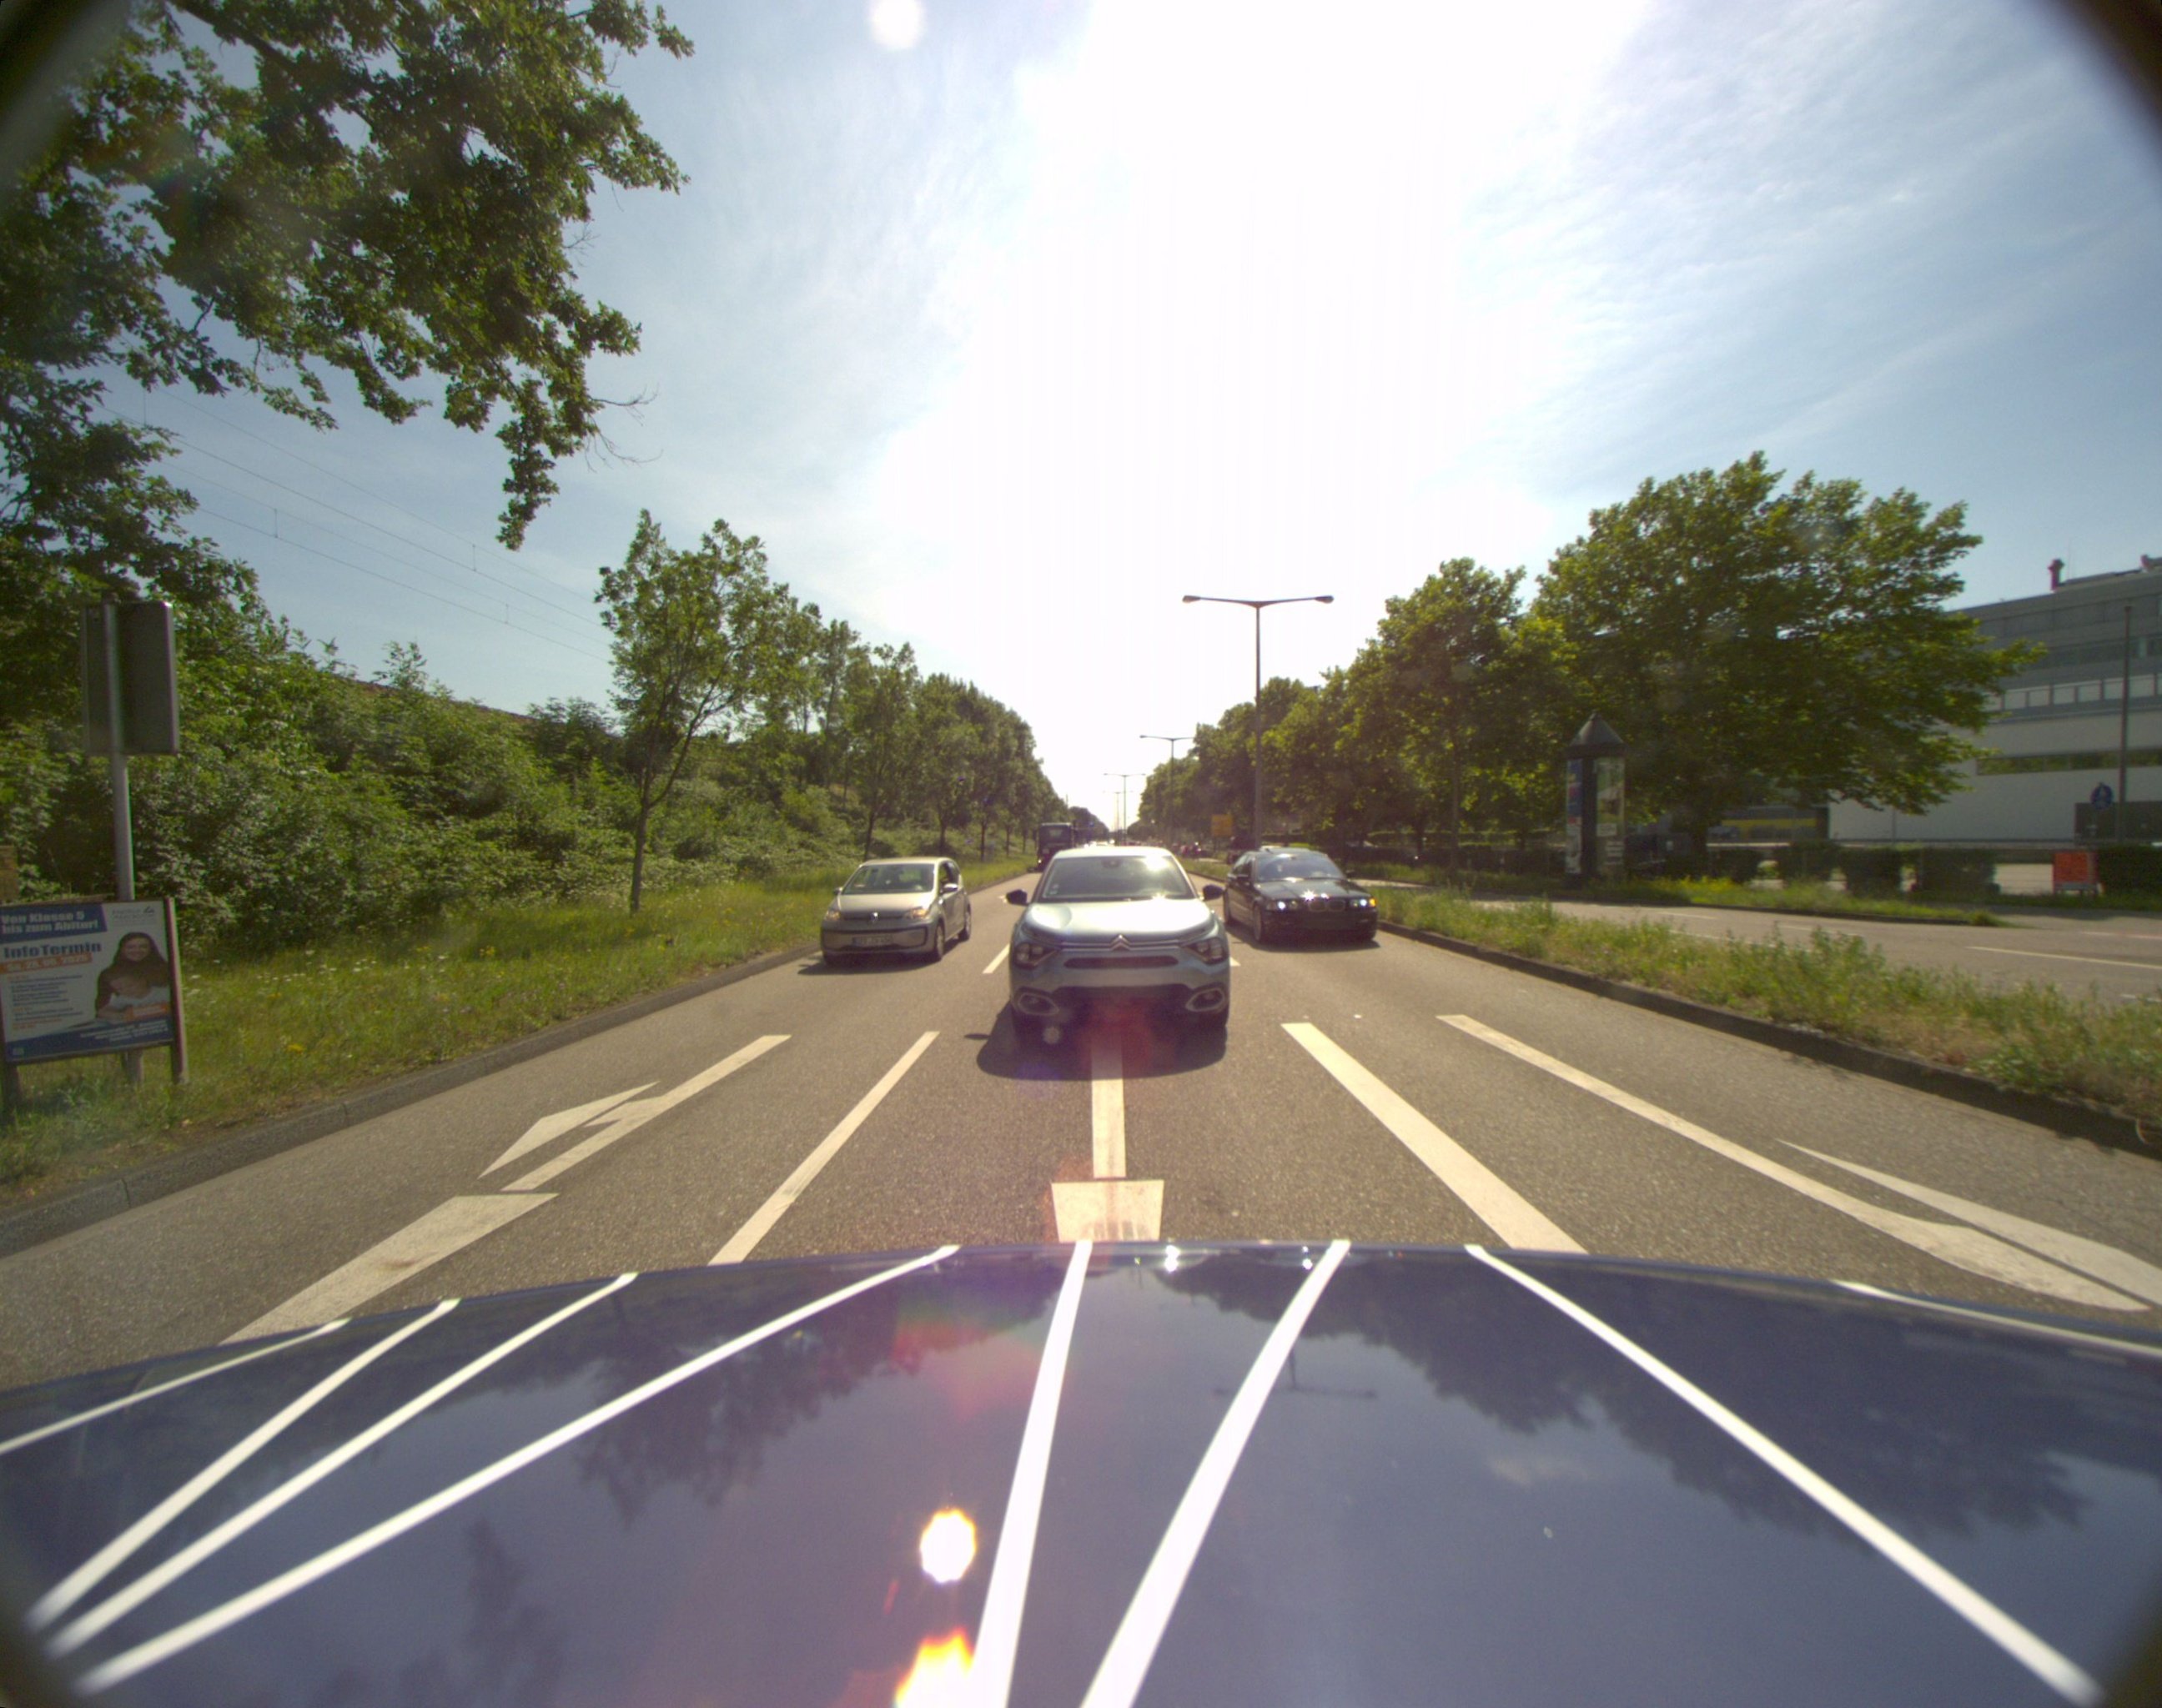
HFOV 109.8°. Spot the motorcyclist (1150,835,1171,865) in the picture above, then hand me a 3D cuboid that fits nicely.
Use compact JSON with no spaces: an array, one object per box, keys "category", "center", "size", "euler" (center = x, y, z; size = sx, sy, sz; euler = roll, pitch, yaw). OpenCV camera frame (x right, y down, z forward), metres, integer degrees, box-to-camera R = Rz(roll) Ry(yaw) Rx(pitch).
[{"category":"motorcyclist","center":[4.478,-0.222,42.682],"size":[1.066,1.689,1.042],"euler":[-1,1,0]}]

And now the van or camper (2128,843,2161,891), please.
[{"category":"van or camper","center":[39.561,0.448,25.891],"size":[2.004,1.682,4.500],"euler":[-1,1,-37]}]

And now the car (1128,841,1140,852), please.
[{"category":"car","center":[9.534,-1.359,136.859],"size":[1.998,2.002,4.000],"euler":[-1,1,1]}]

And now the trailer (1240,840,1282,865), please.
[{"category":"trailer","center":[12.455,-0.128,52.674],"size":[2.067,1.706,3.990],"euler":[-1,1,2]}]

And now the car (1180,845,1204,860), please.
[{"category":"car","center":[10.989,-0.215,75.468],"size":[1.852,1.426,3.766],"euler":[-1,1,0]}]

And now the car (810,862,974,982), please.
[{"category":"car","center":[-2.738,0.908,11.800],"size":[1.705,1.429,3.677],"euler":[-2,1,-2]}]

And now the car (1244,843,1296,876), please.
[{"category":"car","center":[9.126,0.245,36.951],"size":[1.653,1.505,3.735],"euler":[-1,1,1]}]

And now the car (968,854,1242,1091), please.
[{"category":"car","center":[0.253,0.804,7.483],"size":[1.825,1.521,4.751],"euler":[-1,1,2]}]

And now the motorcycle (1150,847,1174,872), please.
[{"category":"motorcycle","center":[4.490,0.274,42.336],"size":[1.052,1.343,2.331],"euler":[-1,1,0]}]

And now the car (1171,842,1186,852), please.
[{"category":"car","center":[15.058,-1.097,117.637],"size":[1.844,1.414,4.221],"euler":[1,1,0]}]

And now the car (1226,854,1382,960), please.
[{"category":"car","center":[3.465,0.744,12.532],"size":[1.730,1.354,4.068],"euler":[-2,1,6]}]

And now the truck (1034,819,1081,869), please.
[{"category":"truck","center":[-1.509,-0.692,52.860],"size":[2.775,3.248,7.482],"euler":[0,1,1]}]

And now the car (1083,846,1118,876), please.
[{"category":"car","center":[1.094,0.318,41.611],"size":[1.825,1.521,4.547],"euler":[-1,1,2]}]

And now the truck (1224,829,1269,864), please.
[{"category":"truck","center":[12.607,-0.575,58.276],"size":[2.144,2.461,7.128],"euler":[-1,1,2]}]

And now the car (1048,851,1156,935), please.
[{"category":"car","center":[0.420,0.712,16.055],"size":[1.998,1.492,3.999],"euler":[-1,1,1]}]

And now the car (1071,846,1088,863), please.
[{"category":"car","center":[-0.148,0.049,94.187],"size":[1.998,2.002,3.999],"euler":[-1,1,1]}]

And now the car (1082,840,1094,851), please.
[{"category":"car","center":[1.298,-1.537,140.485],"size":[1.998,2.002,3.999],"euler":[-1,1,1]}]

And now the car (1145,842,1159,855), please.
[{"category":"car","center":[11.569,-0.894,124.538],"size":[1.998,2.002,4.000],"euler":[-1,1,1]}]
